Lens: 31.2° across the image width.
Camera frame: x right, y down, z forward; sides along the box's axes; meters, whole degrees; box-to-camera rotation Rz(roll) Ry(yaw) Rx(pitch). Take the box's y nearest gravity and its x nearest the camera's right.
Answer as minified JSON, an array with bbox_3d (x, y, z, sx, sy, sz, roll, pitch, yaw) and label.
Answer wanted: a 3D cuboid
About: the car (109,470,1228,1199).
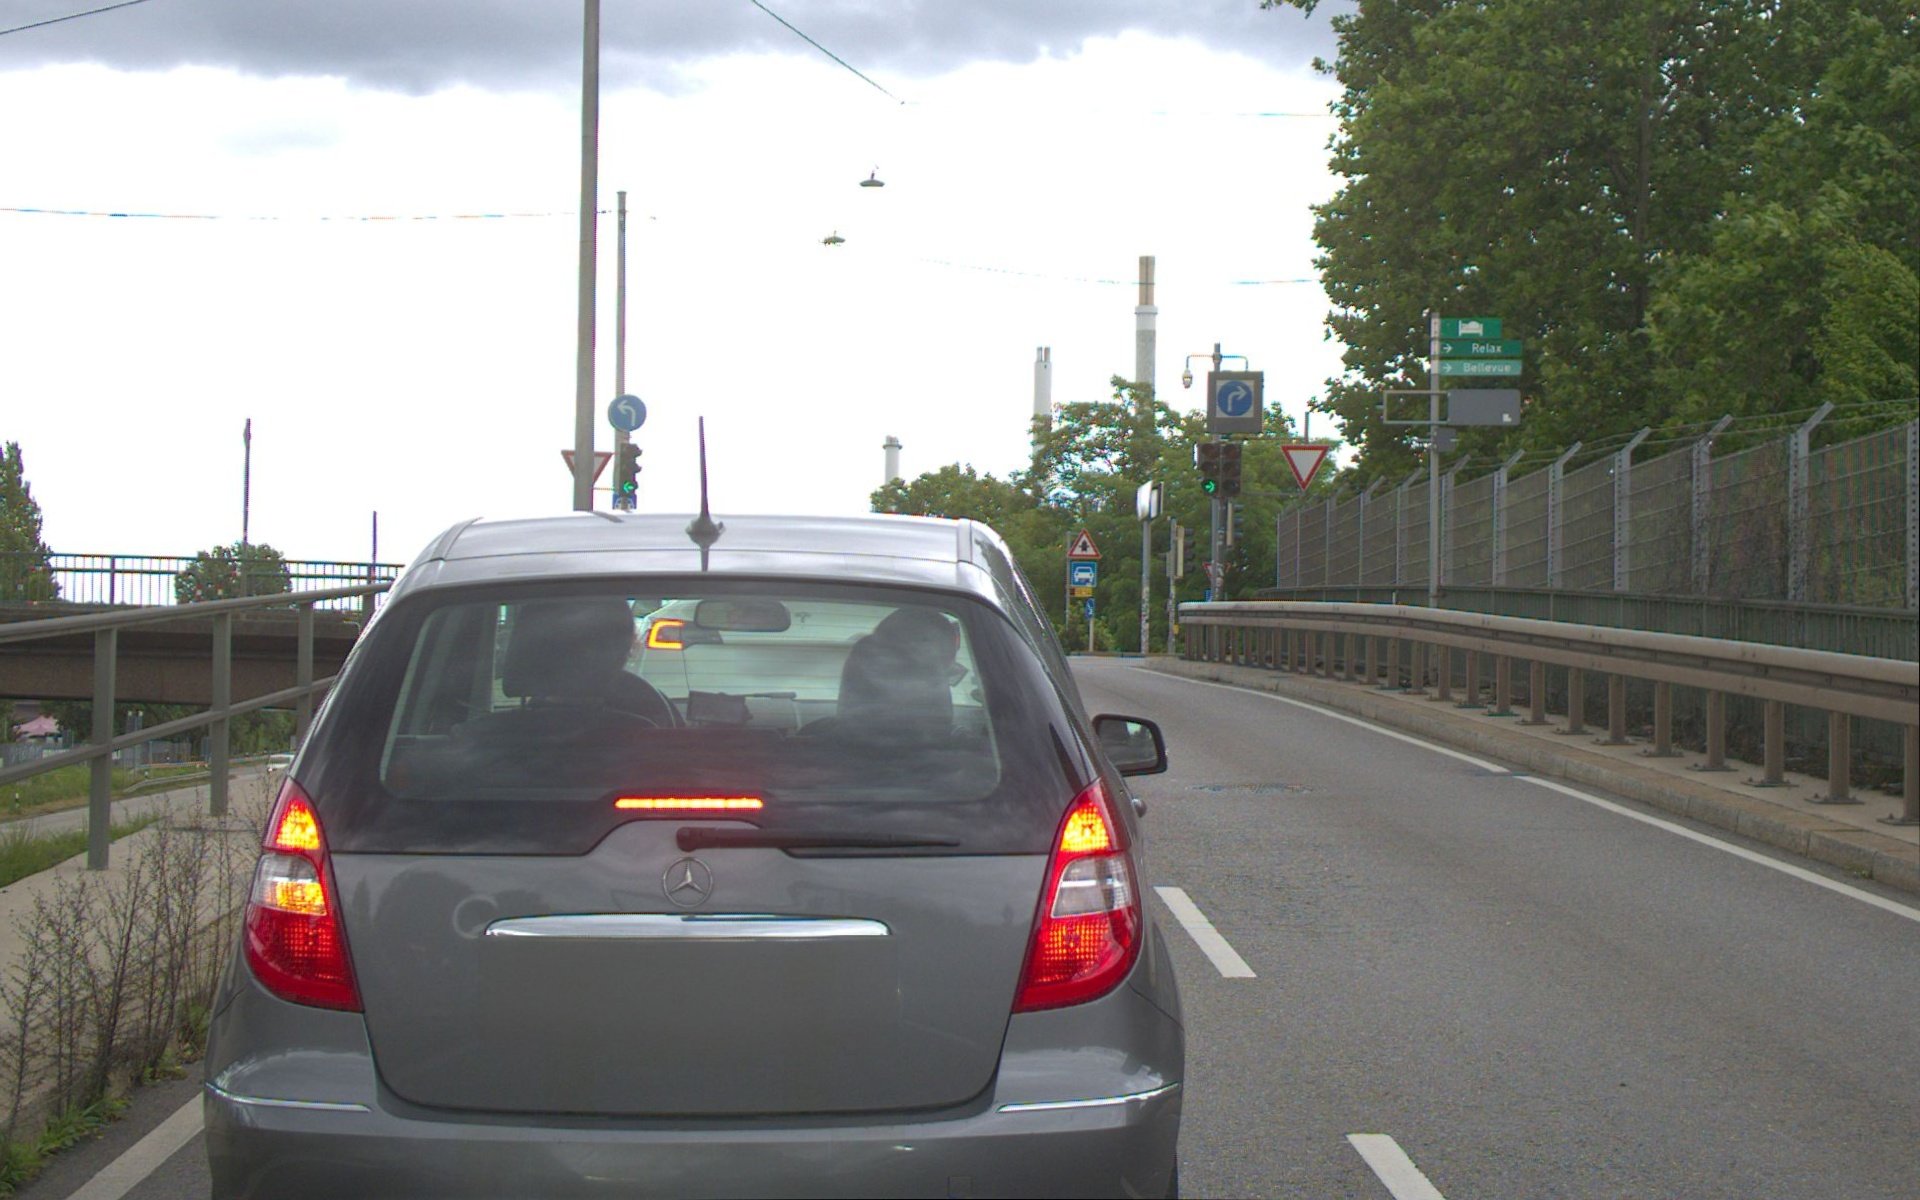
[{"bbox_3d":[-0.332,0.648,7.652,1.750,1.575,4.083,0,-2,6],"label":"car"}]

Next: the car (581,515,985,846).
[{"bbox_3d":[-0.904,0.348,18.983,1.993,1.597,4.001,0,2,-1],"label":"car"}]

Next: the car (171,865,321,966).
[{"bbox_3d":[-13.026,5.749,62.913,1.854,1.495,4.000,0,0,1],"label":"car"}]
